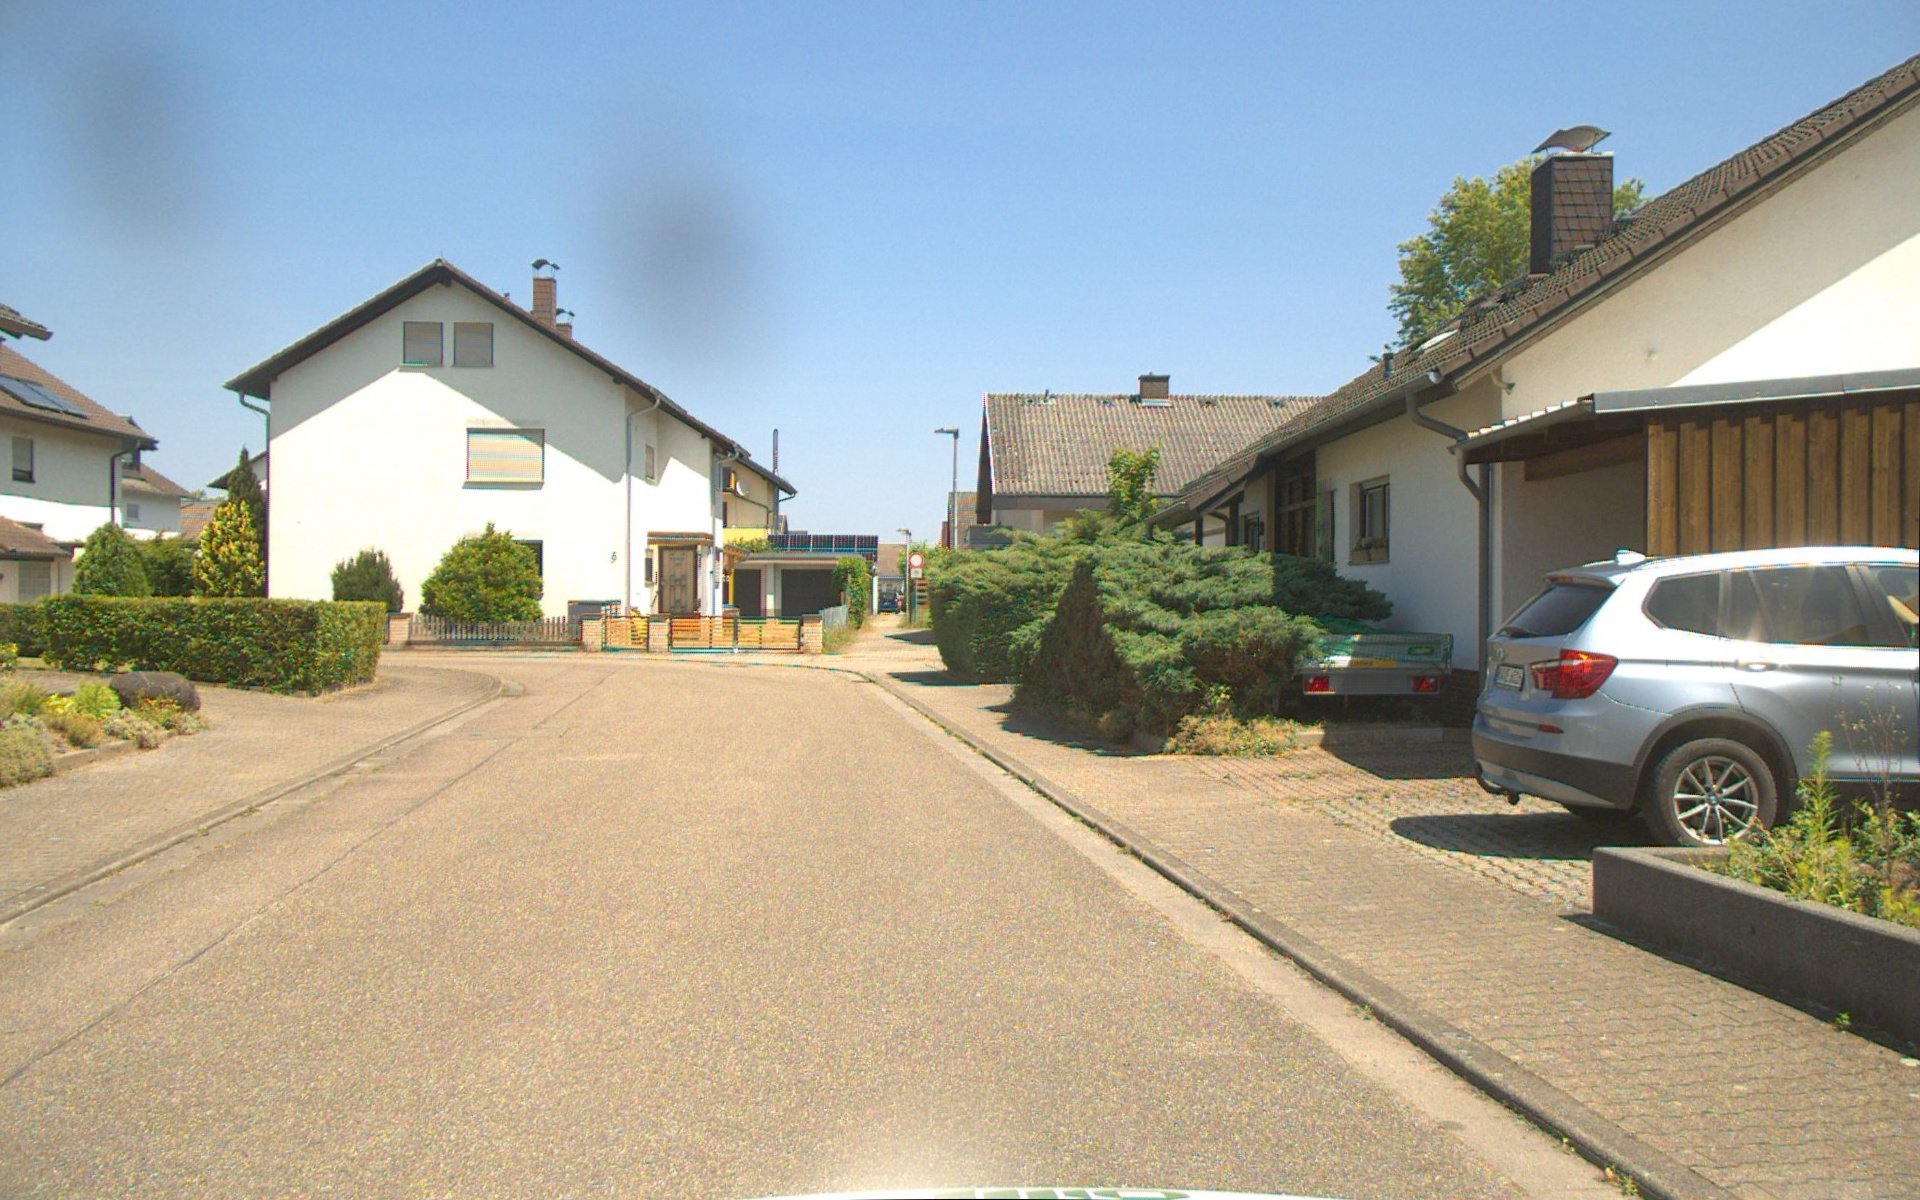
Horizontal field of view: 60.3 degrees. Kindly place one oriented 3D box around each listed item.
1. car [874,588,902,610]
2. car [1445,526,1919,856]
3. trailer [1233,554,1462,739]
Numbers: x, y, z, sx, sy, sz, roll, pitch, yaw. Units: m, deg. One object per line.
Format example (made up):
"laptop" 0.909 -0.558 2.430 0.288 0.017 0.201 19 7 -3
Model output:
"car" -5.856 -0.084 135.148 2.149 1.731 3.806 0 0 -1
"car" 5.397 0.456 9.784 4.531 1.732 1.710 -2 0 1
"trailer" 3.952 0.416 17.341 1.555 1.701 3.296 -2 1 -1
